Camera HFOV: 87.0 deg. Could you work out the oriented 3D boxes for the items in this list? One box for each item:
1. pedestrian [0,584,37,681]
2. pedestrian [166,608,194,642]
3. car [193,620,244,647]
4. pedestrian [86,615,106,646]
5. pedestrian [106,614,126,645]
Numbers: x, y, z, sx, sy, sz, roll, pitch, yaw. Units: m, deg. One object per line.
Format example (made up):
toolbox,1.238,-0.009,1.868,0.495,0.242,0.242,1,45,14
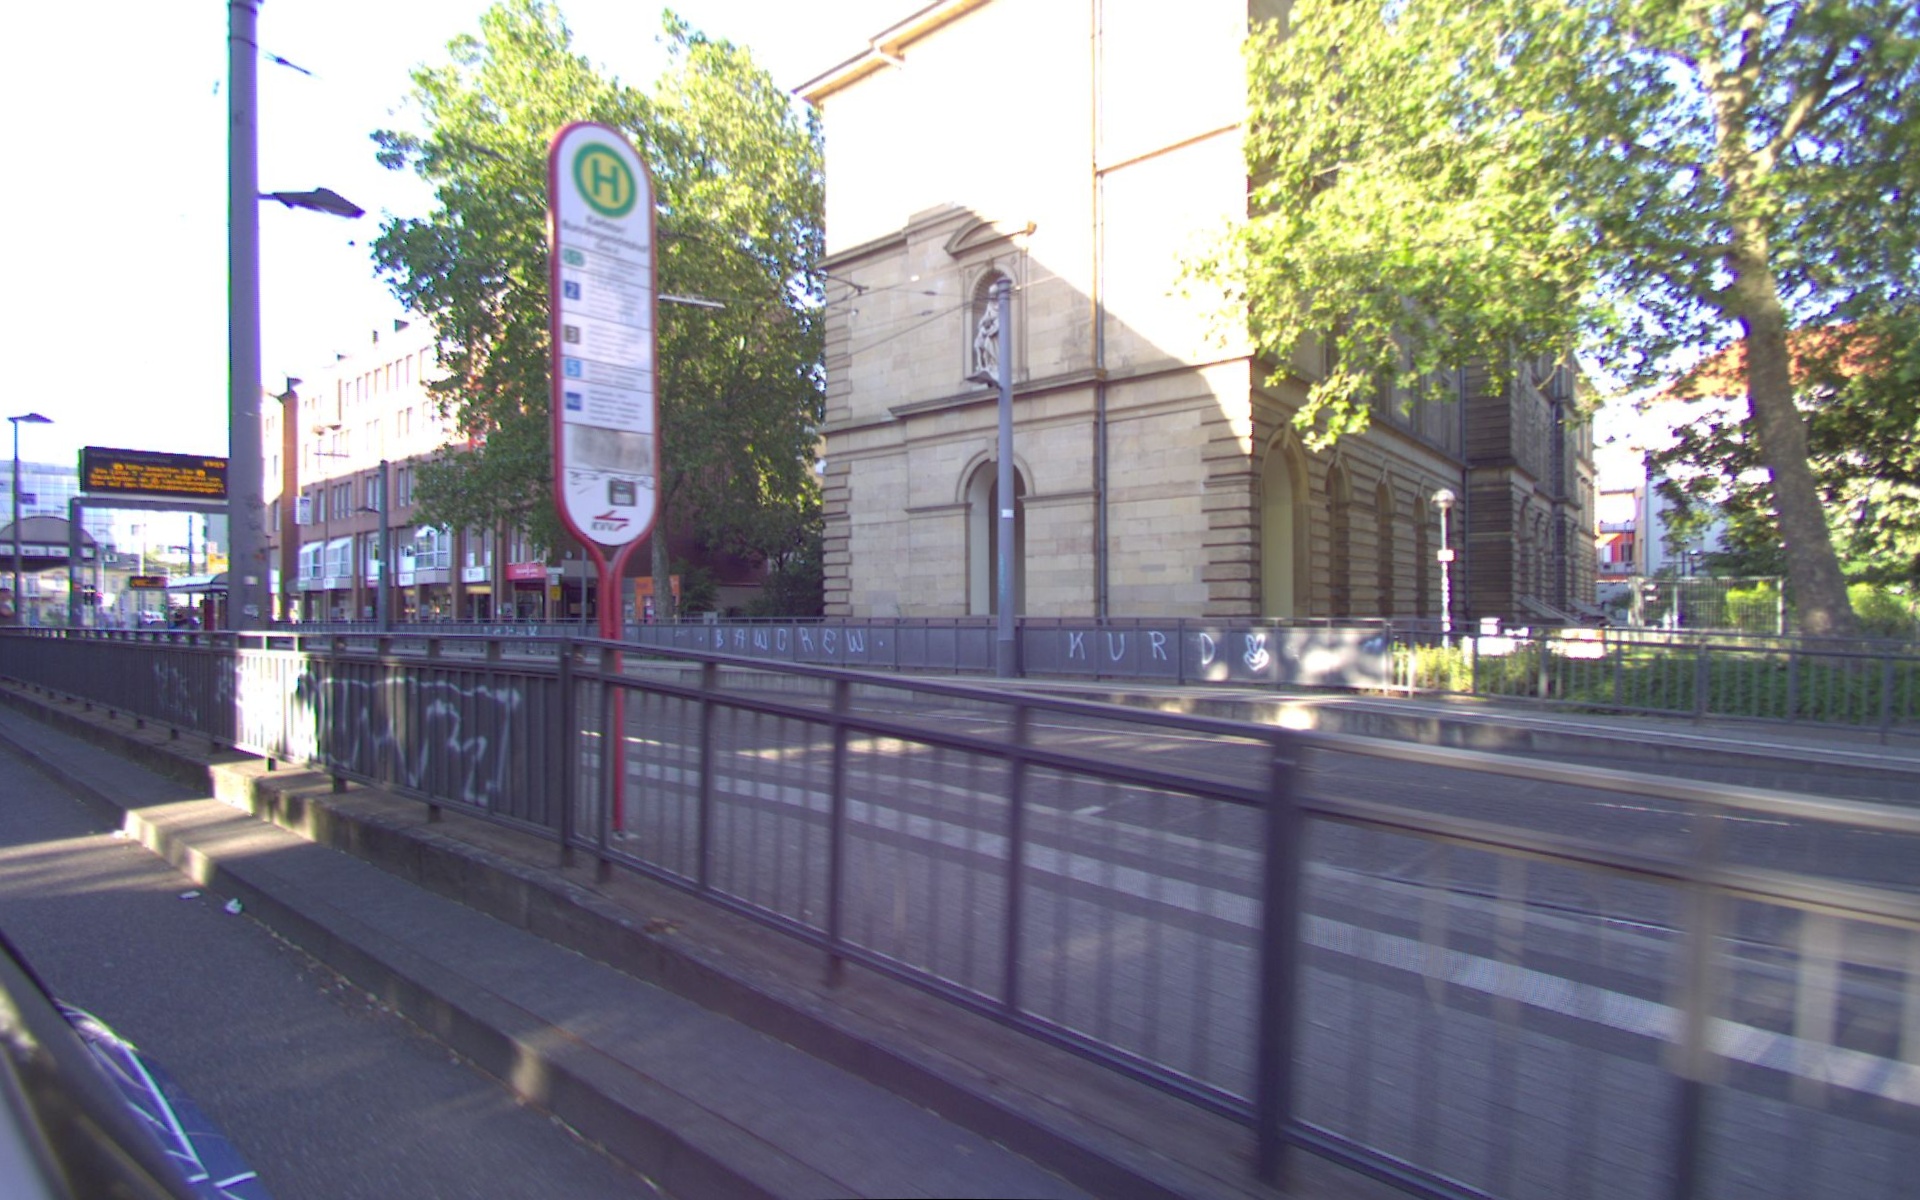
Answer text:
pedestrian,-17.410,0.590,18.557,0.849,1.725,0.616,-1,-1,41
pedestrian,-38.542,1.232,49.999,0.967,1.674,0.902,-1,-1,40
car,-49.411,2.194,67.410,4.290,1.606,1.889,1,-1,42
pedestrian,-52.323,1.848,61.309,0.848,1.780,0.812,-3,2,-42
pedestrian,-51.632,1.796,61.911,0.847,1.780,0.812,-3,2,-41
